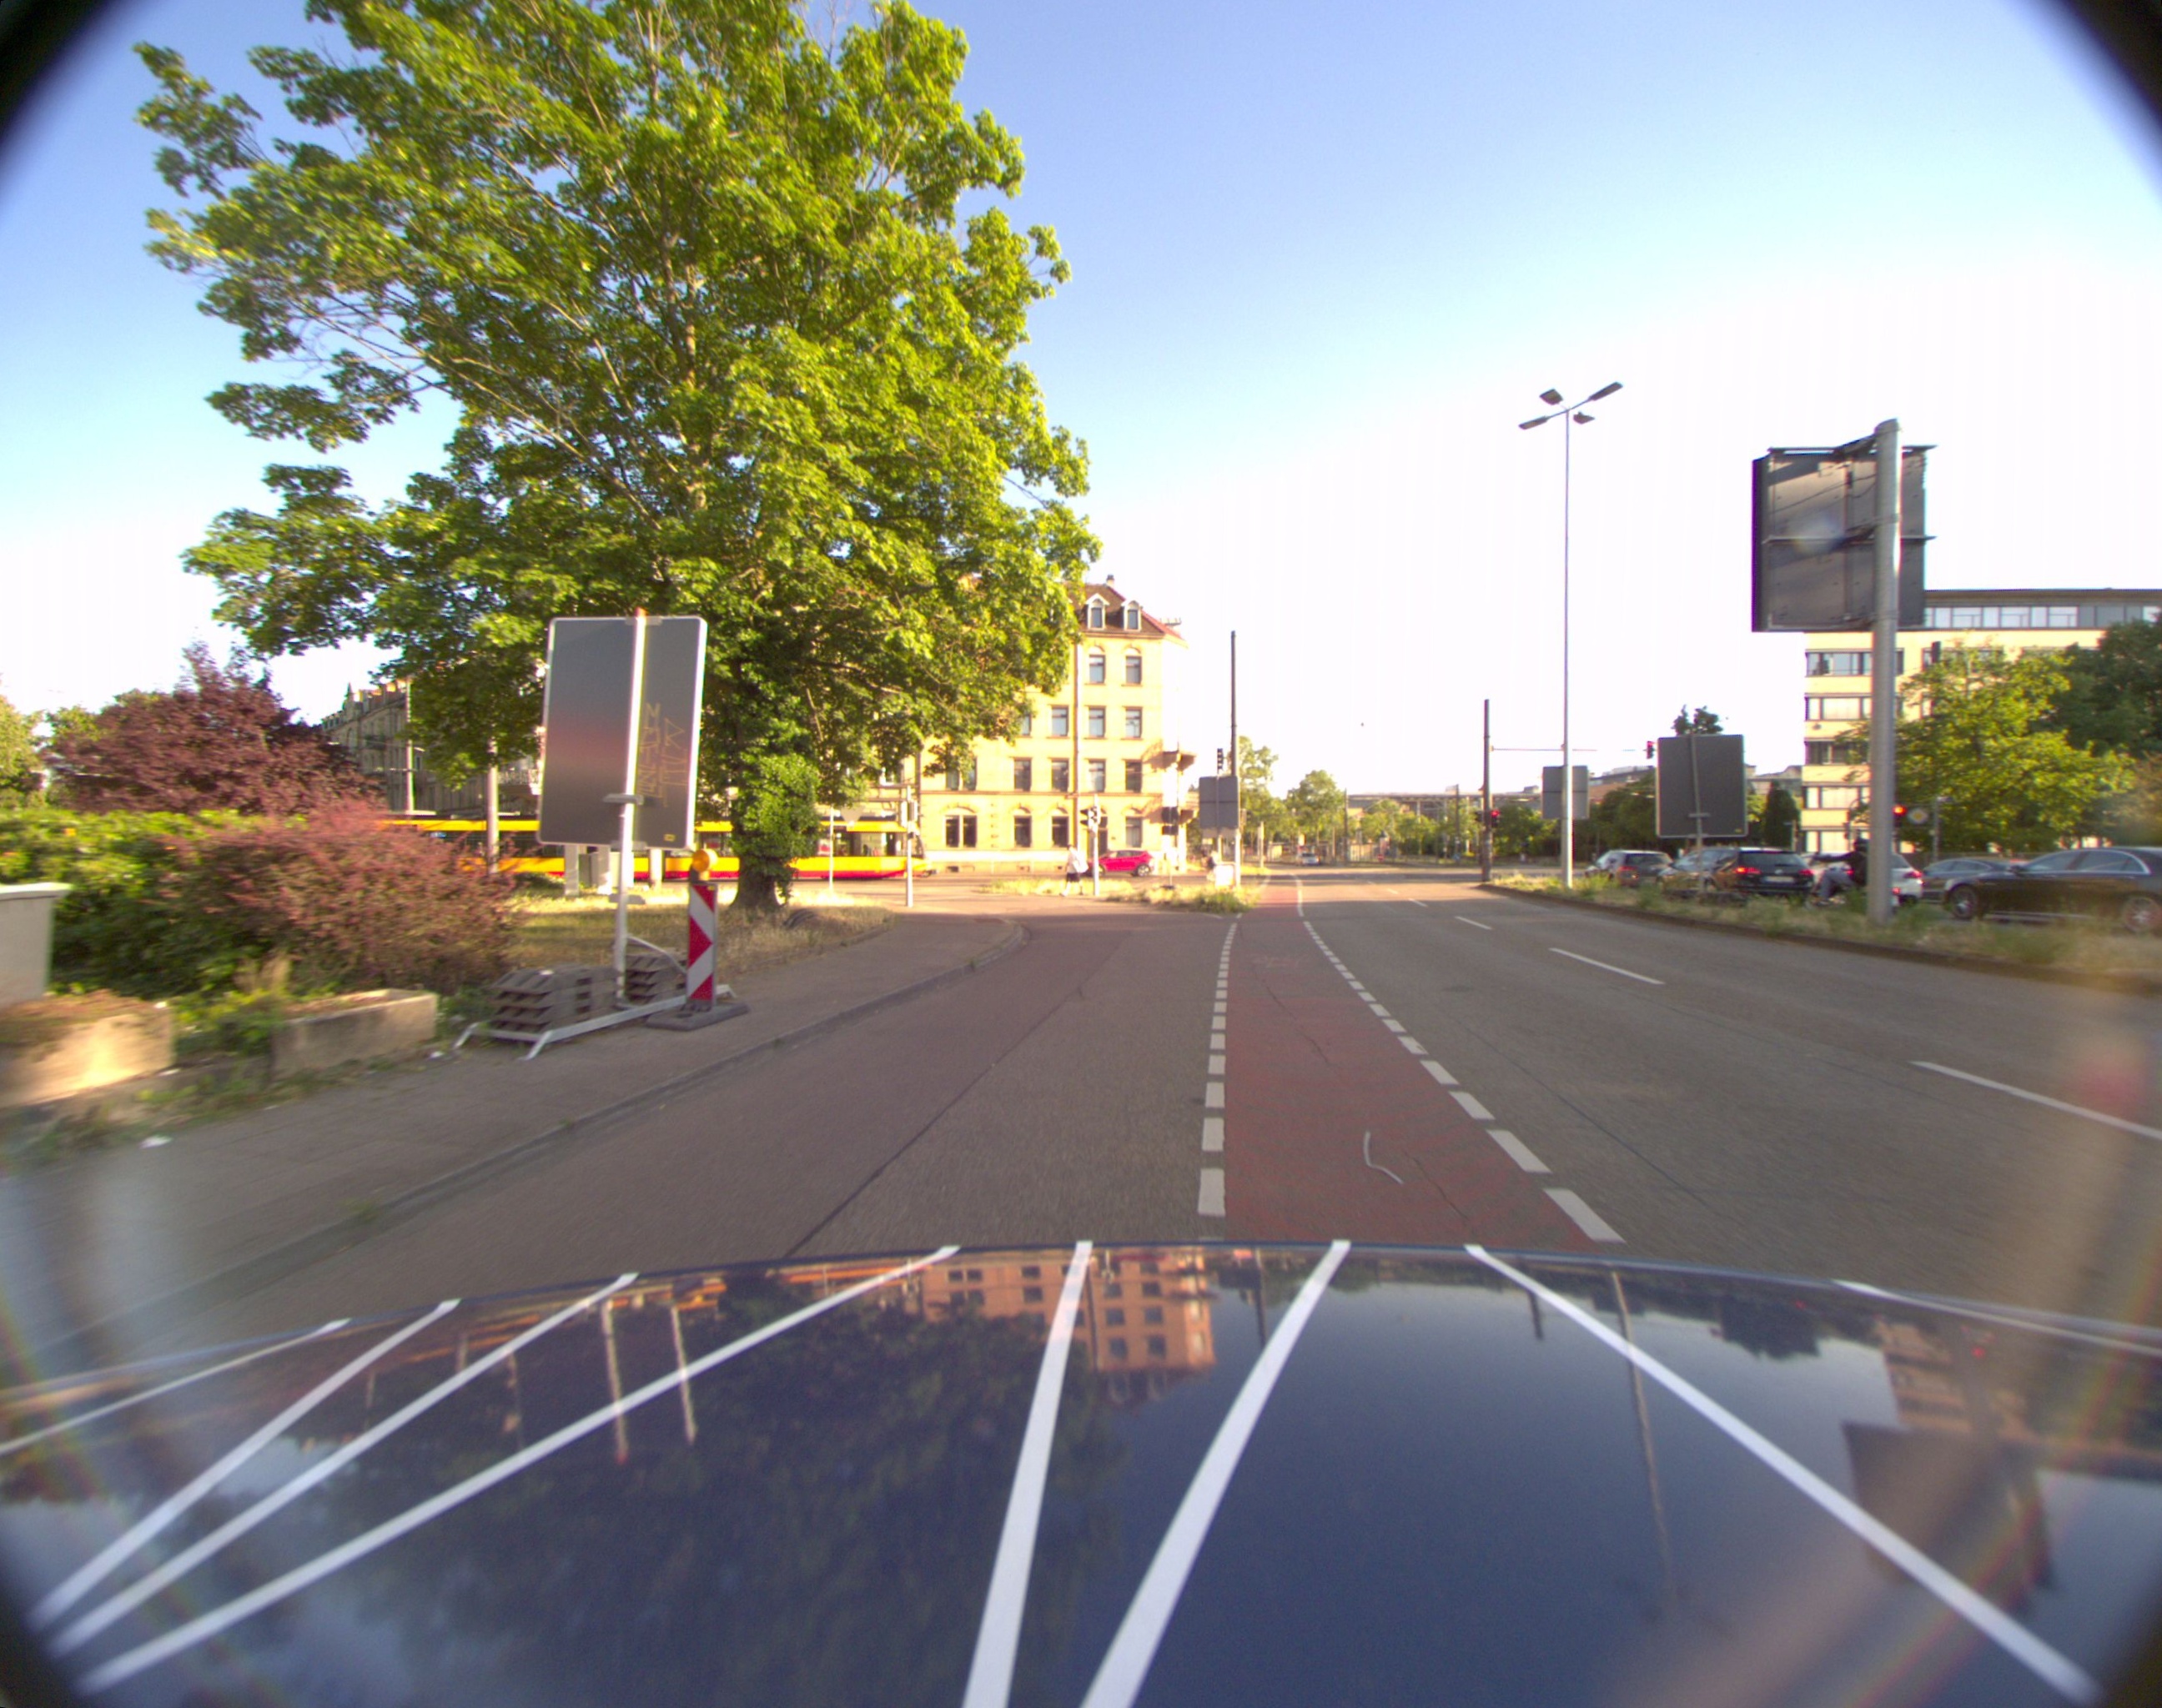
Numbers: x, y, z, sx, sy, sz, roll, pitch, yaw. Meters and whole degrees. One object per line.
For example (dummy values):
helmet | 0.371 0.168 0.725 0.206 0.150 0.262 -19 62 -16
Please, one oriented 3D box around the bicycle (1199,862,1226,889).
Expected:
bicycle | 5.374 0.863 30.972 0.398 1.023 1.675 1 1 35

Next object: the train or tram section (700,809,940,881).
train or tram section | -13.053 -0.454 39.107 11.298 3.487 2.867 0 1 -10

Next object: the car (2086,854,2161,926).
car | 23.279 0.759 15.048 1.857 1.455 4.003 -1 0 10

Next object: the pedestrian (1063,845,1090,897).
pedestrian | -0.148 0.571 26.426 0.826 1.778 0.912 0 1 8

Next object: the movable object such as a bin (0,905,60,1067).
movable object such as a bin | -7.273 0.863 4.856 0.573 1.023 0.674 0 1 3

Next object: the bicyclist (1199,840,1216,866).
bicyclist | 9.027 -0.104 54.328 1.071 1.831 1.303 0 1 4

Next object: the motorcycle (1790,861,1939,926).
motorcycle | 14.971 0.699 14.642 0.860 1.101 2.473 0 1 16

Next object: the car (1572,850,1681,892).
car | 18.060 0.508 25.384 1.720 1.289 4.254 0 1 18

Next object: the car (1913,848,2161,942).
car | 18.403 0.632 13.537 1.997 1.487 5.296 0 0 10

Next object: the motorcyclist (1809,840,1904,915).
motorcyclist | 14.996 0.428 14.730 0.852 1.390 1.063 0 1 16

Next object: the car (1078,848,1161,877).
car | 2.186 0.454 43.811 4.465 1.605 1.820 0 1 -9

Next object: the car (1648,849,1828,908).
car | 16.172 0.518 19.028 1.721 1.289 4.382 0 1 16

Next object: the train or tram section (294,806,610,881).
train or tram section | -30.457 -0.506 37.155 13.005 3.487 2.869 0 1 0

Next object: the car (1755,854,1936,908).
car | 20.717 0.657 20.840 1.721 1.311 3.898 0 1 14

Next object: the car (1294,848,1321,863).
car | 25.386 0.142 85.231 1.998 1.565 4.000 0 1 3

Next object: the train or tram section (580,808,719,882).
train or tram section | -21.249 -0.424 37.737 5.304 3.487 2.867 0 1 -9

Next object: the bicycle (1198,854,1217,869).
bicycle | 9.020 0.519 54.353 1.071 1.018 2.976 0 1 5

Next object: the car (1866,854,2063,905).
car | 24.954 0.662 21.688 1.721 1.289 3.898 0 1 14

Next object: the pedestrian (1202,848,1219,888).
pedestrian | 5.288 0.556 31.069 0.488 1.622 0.526 1 1 35
